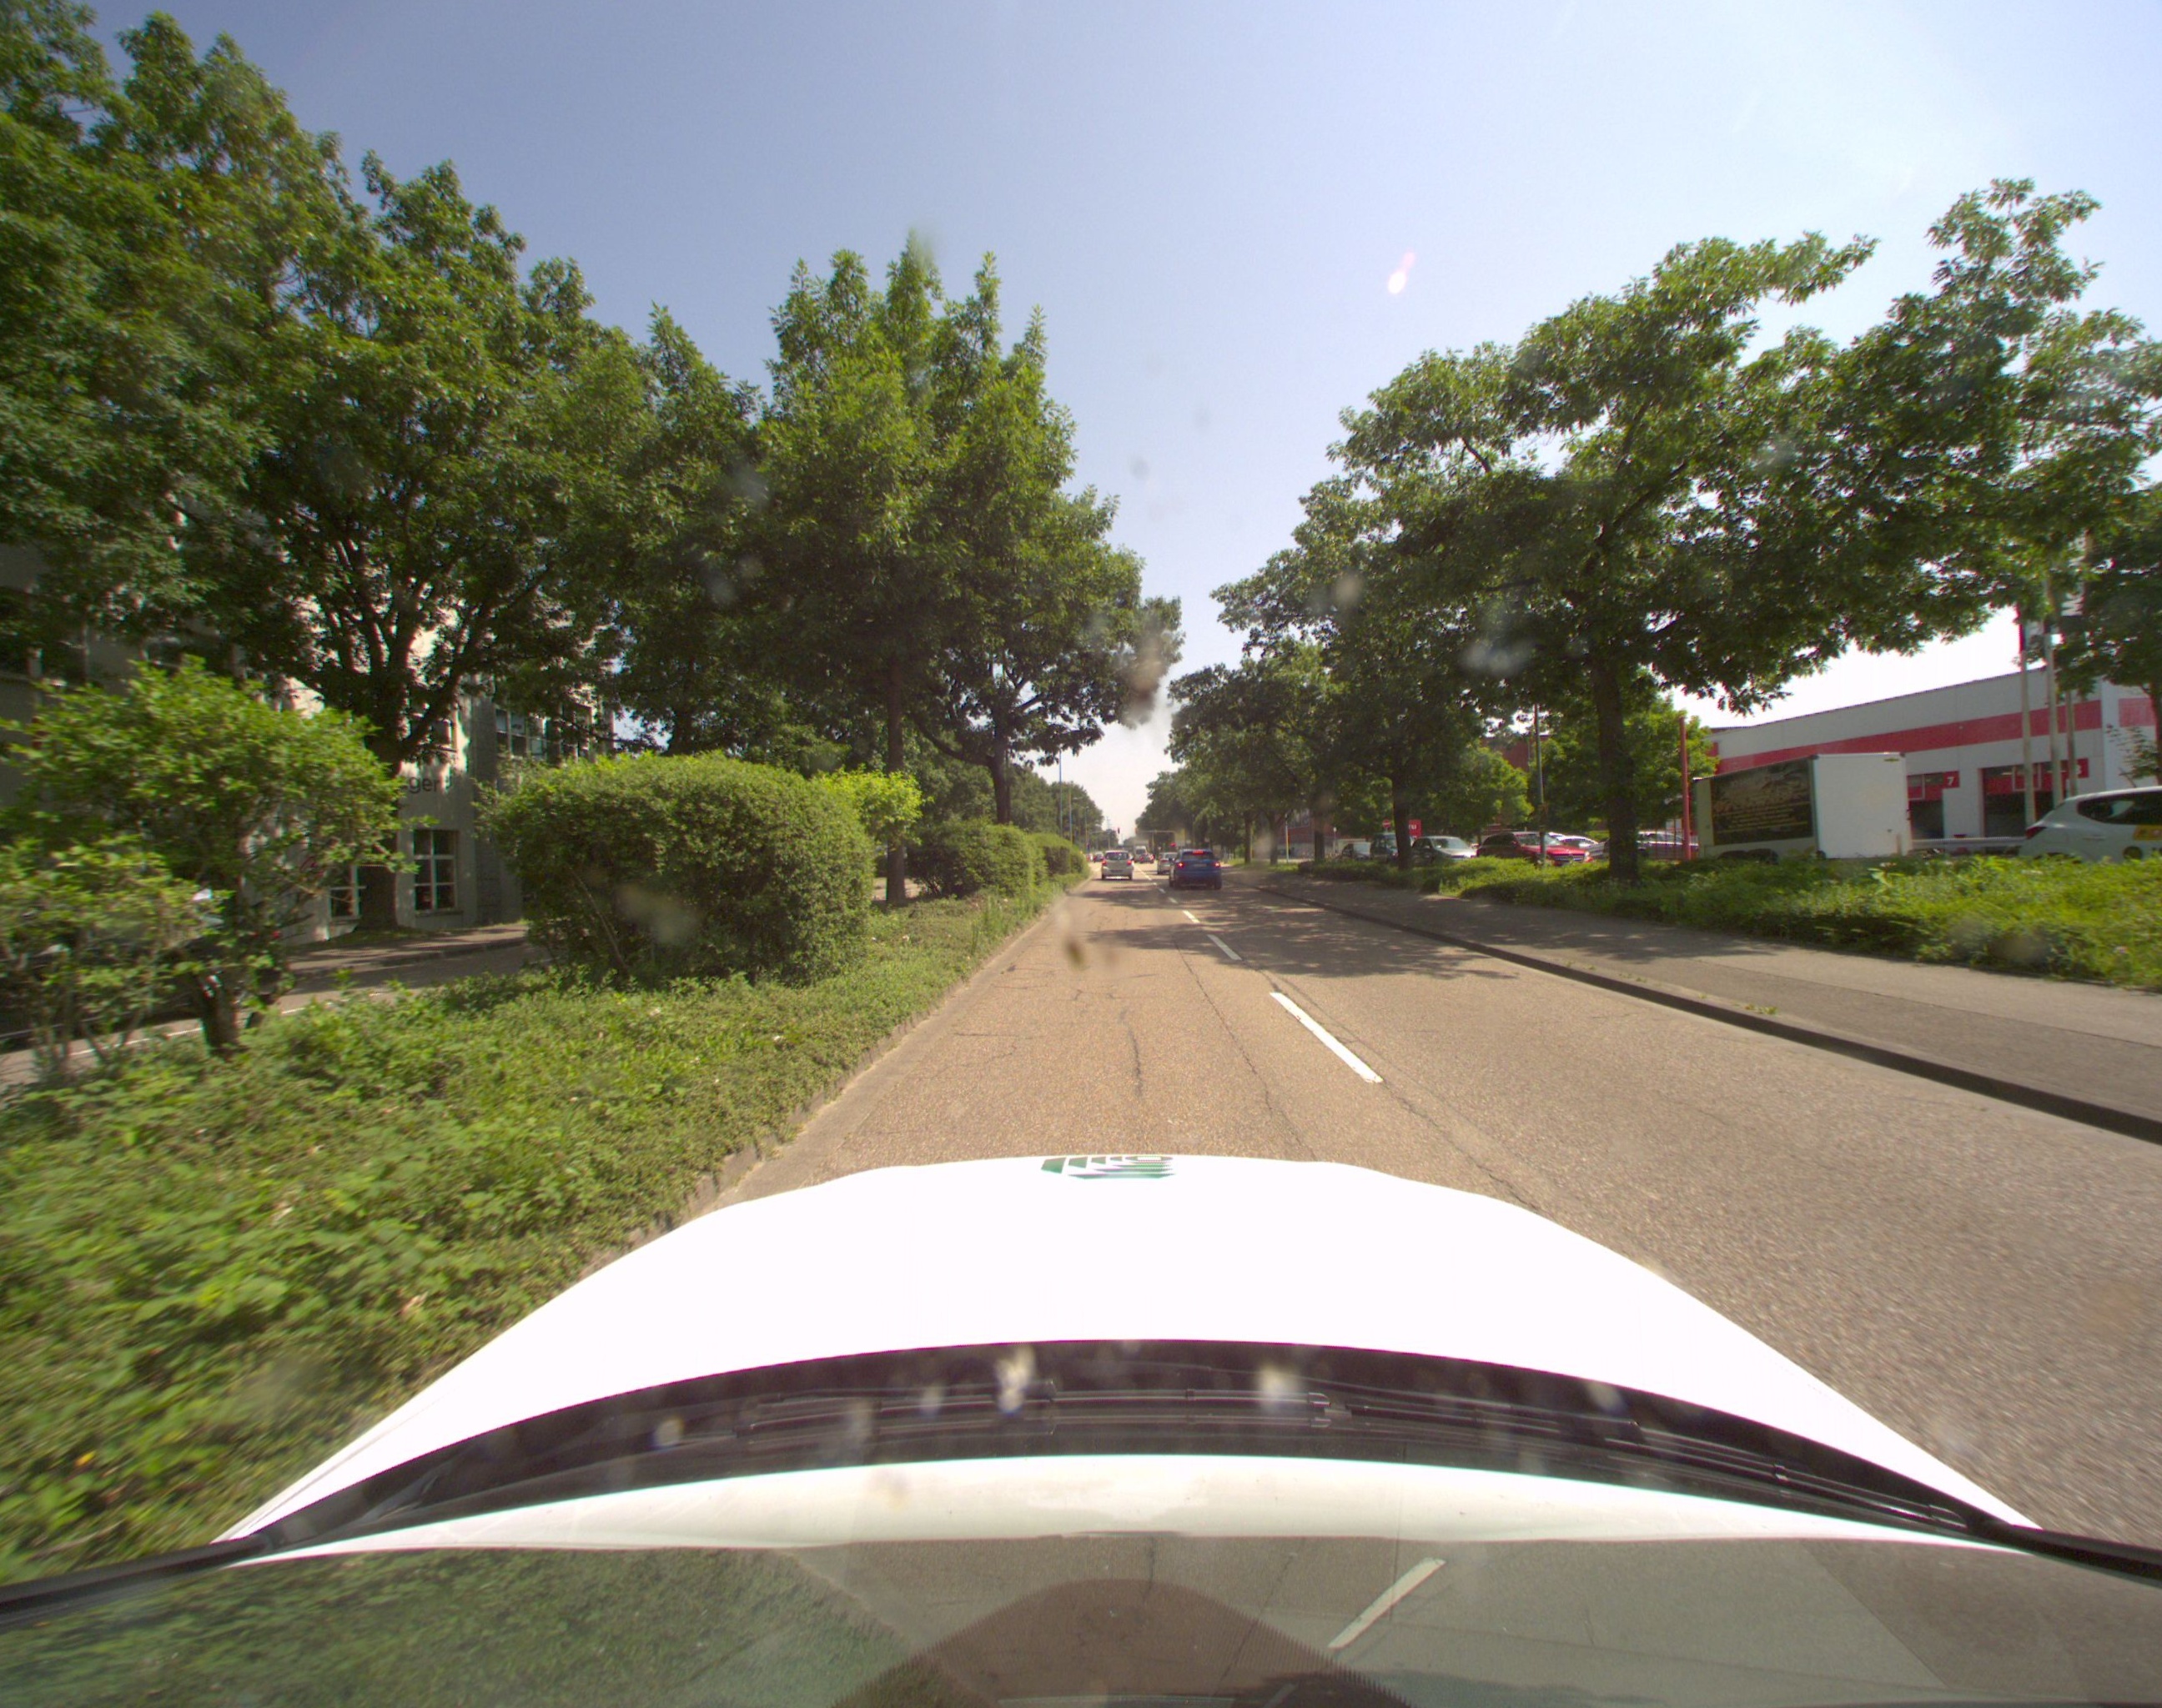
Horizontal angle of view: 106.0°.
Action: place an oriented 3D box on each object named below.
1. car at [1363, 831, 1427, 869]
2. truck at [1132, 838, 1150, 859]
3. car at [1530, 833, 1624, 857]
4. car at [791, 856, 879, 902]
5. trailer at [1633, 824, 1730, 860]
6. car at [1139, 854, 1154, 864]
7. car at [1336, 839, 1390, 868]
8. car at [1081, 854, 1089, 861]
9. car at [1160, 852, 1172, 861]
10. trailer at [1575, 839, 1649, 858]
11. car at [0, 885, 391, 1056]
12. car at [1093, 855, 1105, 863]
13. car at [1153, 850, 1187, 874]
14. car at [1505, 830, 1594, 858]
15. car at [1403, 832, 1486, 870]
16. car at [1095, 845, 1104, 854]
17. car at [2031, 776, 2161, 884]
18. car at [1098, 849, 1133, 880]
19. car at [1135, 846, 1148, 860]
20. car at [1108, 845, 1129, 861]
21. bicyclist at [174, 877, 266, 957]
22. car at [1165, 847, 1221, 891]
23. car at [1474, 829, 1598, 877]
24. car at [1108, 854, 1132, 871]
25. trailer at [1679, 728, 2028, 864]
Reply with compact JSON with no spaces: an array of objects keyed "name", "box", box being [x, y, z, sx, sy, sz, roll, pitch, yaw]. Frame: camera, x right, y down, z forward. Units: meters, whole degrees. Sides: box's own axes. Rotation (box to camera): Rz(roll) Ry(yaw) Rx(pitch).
[{"name":"car","box":[14.686,-0.169,38.259,1.693,1.637,3.910,-2,-1,4]},{"name":"truck","box":[10.442,-0.943,142.625,2.920,3.502,9.164,-2,0,3]},{"name":"car","box":[27.017,-0.475,44.429,3.971,1.221,1.910,-1,-1,2]},{"name":"car","box":[-9.734,0.937,32.569,1.813,1.635,4.524,-2,0,4]},{"name":"trailer","box":[29.199,-0.583,39.662,3.588,1.582,1.414,-2,0,4]},{"name":"car","box":[9.332,0.726,116.422,1.858,1.310,4.002,-3,0,2]},{"name":"car","box":[15.121,-0.005,43.896,1.692,1.424,4.661,-2,-1,6]},{"name":"car","box":[0.801,0.694,153.939,1.363,1.308,2.693,-2,0,0]},{"name":"car","box":[13.998,0.448,134.420,1.626,1.464,4.003,-2,0,3]},{"name":"trailer","box":[25.795,-0.259,39.618,2.702,0.911,1.382,0,0,2]},{"name":"car","box":[-11.341,1.266,9.372,2.118,1.451,5.244,-4,0,2]},{"name":"car","box":[3.222,0.835,147.621,1.985,1.288,4.003,-2,0,3]},{"name":"car","box":[5.639,0.501,51.918,1.858,1.473,4.002,-1,-1,2]},{"name":"car","box":[26.919,-0.566,46.902,3.973,1.442,1.943,-2,0,1]},{"name":"car","box":[14.559,-0.117,32.805,1.694,1.380,3.907,-2,0,2]},{"name":"car","box":[4.609,-1.090,200.324,1.987,2.013,3.999,-2,0,0]},{"name":"car","box":[13.328,-0.301,8.934,1.613,1.253,3.631,-1,-1,1]},{"name":"car","box":[1.783,0.541,42.837,1.634,1.552,3.323,-1,-1,-1]},{"name":"car","box":[9.775,-0.138,132.151,1.985,2.255,4.003,-2,0,3]},{"name":"car","box":[3.731,-0.062,81.392,1.790,1.523,3.998,-1,-1,-1]},{"name":"bicyclist","box":[-14.159,1.017,13.408,0.641,1.253,0.813,-1,-1,2]},{"name":"car","box":[4.447,0.589,32.952,1.802,1.593,4.351,-1,-1,2]},{"name":"car","box":[14.601,-0.050,26.422,1.694,1.380,4.326,-2,0,2]},{"name":"car","box":[3.237,0.717,67.647,1.877,1.354,4.003,-1,-1,3]},{"name":"trailer","box":[13.926,-0.908,15.310,1.692,2.055,5.491,-2,0,5]}]
